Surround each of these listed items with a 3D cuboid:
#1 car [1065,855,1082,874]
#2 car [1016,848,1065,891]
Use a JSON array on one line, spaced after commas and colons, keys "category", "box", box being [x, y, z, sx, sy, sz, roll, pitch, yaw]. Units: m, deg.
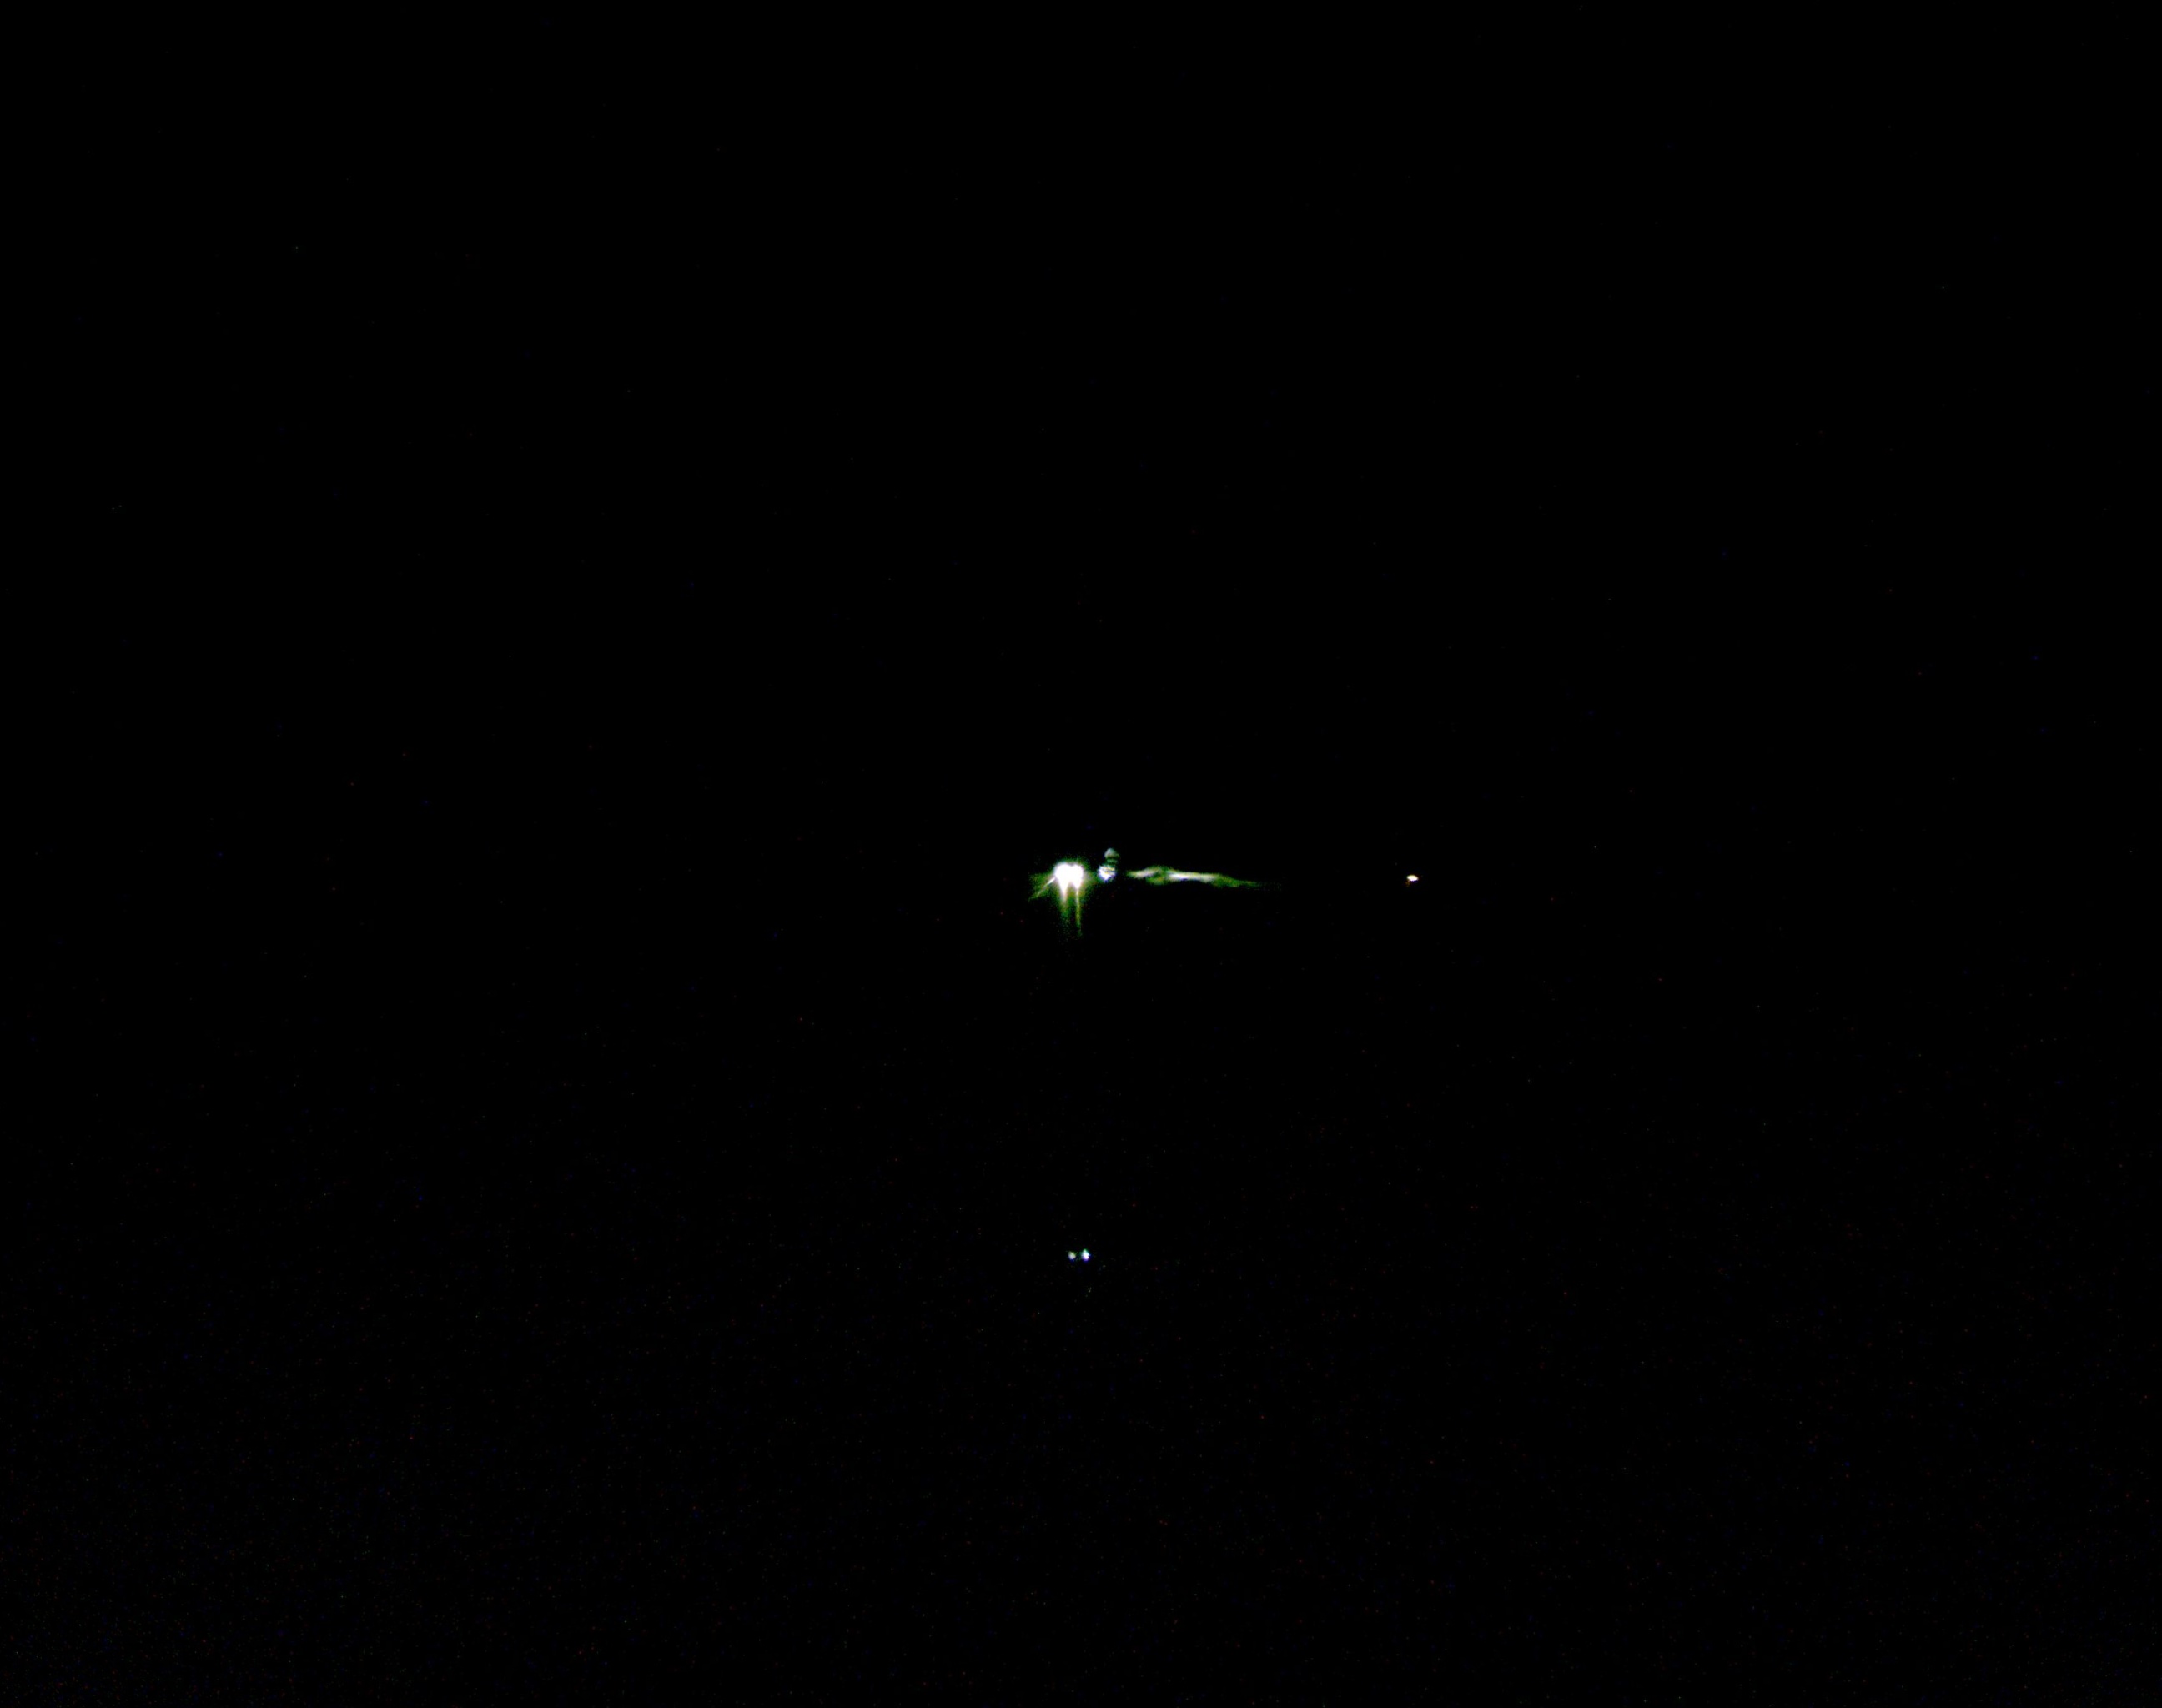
[{"category": "car", "box": [-0.897, 1.302, 94.919, 1.999, 2.003, 3.998, -3, 2, -1]}, {"category": "car", "box": [-2.013, 0.775, 39.308, 2.202, 2.001, 4.207, -3, -1, 0]}]
